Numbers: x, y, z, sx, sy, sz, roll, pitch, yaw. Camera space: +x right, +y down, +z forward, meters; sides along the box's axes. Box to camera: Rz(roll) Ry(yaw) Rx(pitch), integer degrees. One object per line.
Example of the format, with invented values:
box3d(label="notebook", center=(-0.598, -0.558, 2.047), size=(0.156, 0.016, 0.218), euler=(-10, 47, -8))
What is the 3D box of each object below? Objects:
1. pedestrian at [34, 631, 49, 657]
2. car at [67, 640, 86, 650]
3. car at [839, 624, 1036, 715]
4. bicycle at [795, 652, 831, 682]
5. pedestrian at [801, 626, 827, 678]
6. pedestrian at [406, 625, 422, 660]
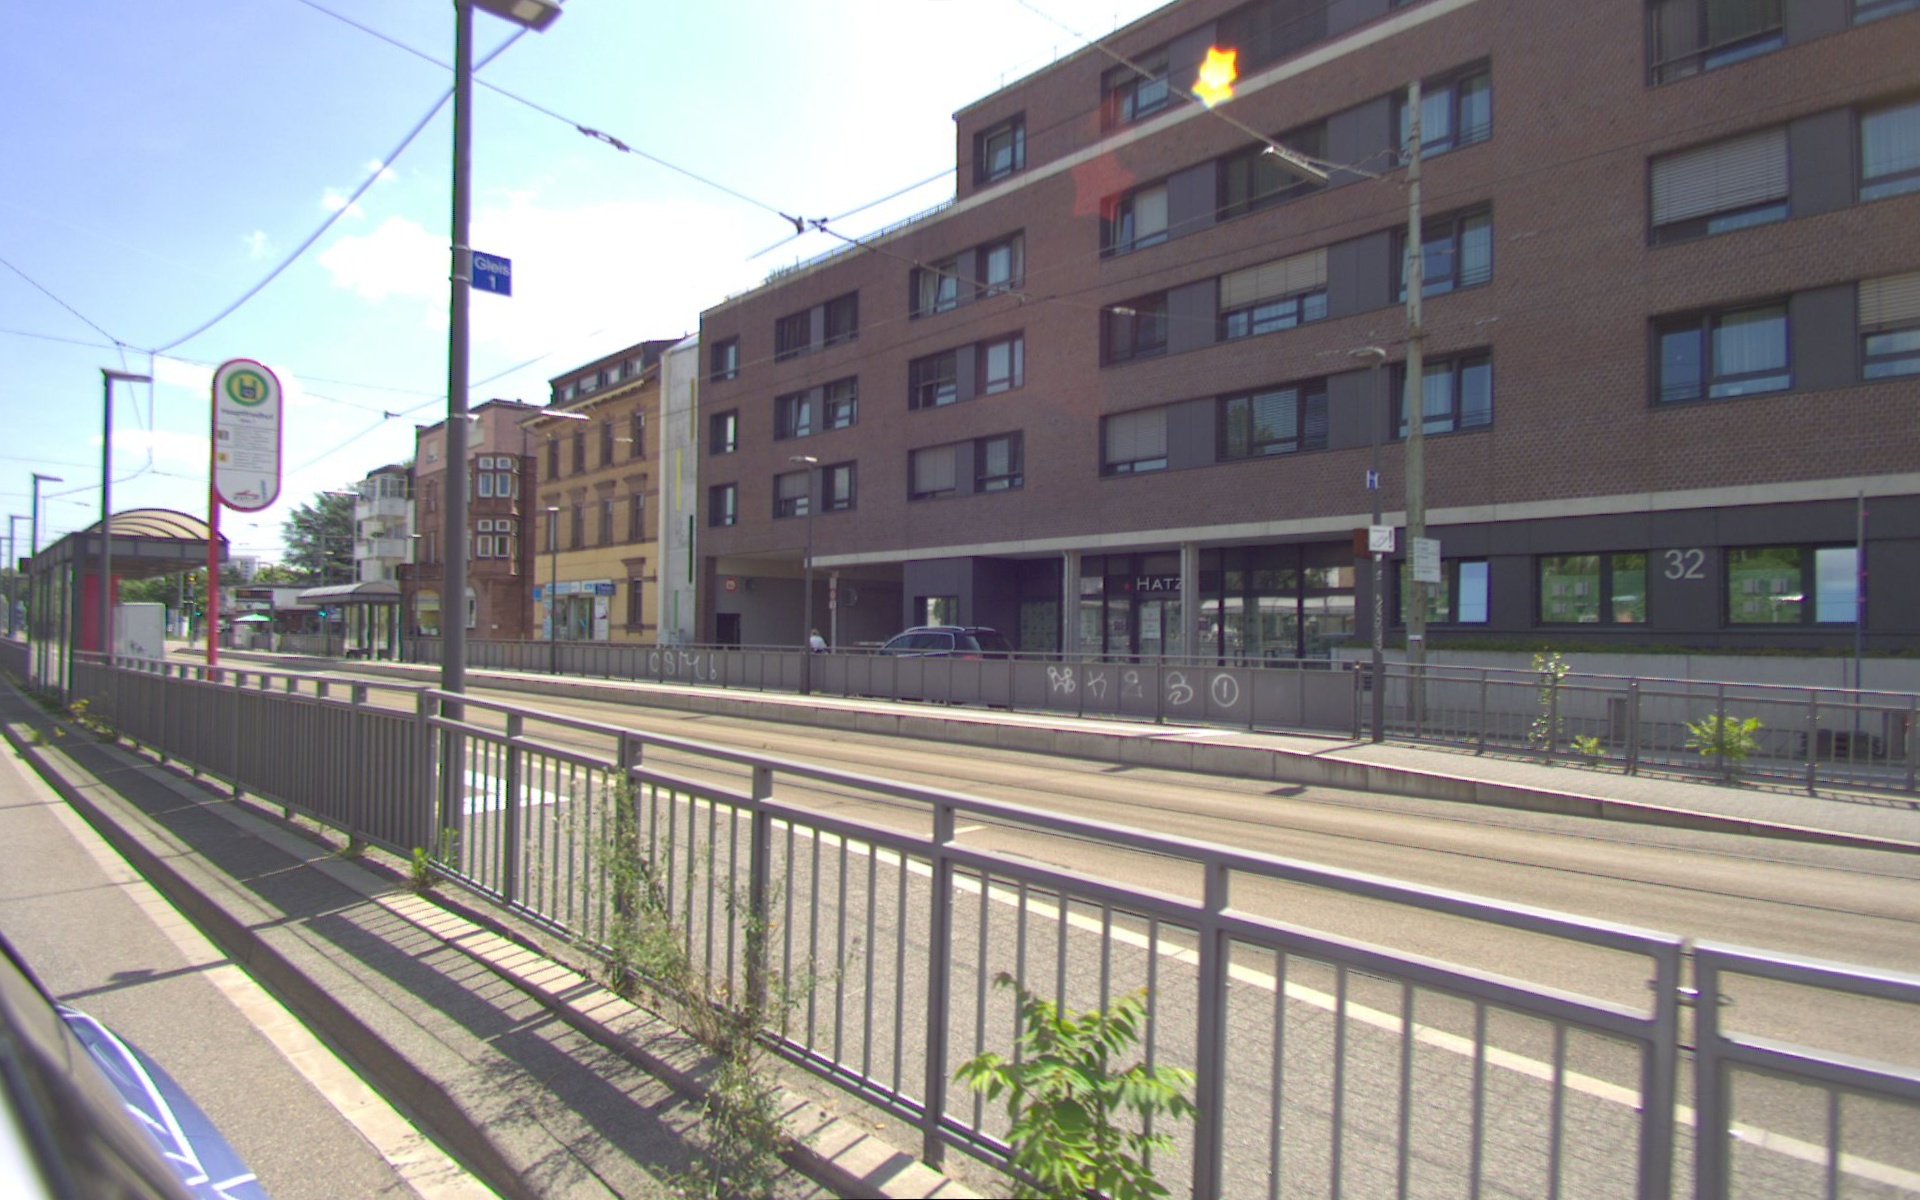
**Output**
box3d(label="pedestrian", center=(-56.439, 2.713, 62.173), size=(0.570, 1.568, 0.787), euler=(4, -4, -42))
box3d(label="car", center=(-144.793, 7.361, 165.775), size=(4.403, 1.483, 1.971), euler=(-2, -3, 44))
box3d(label="car", center=(-0.509, 1.361, 20.630), size=(3.772, 1.640, 1.817), euler=(-1, -4, 43))
box3d(label="bicycle", center=(-4.005, 1.815, 27.513), size=(0.289, 0.767, 1.188), euler=(5, -4, -44))
box3d(label="pedestrian", center=(-3.971, 1.408, 27.522), size=(0.536, 1.395, 0.430), euler=(-1, -4, 45))
box3d(label="pedestrian", center=(-32.426, 2.506, 60.093), size=(0.810, 2.029, 0.611), euler=(-2, -3, 43))
